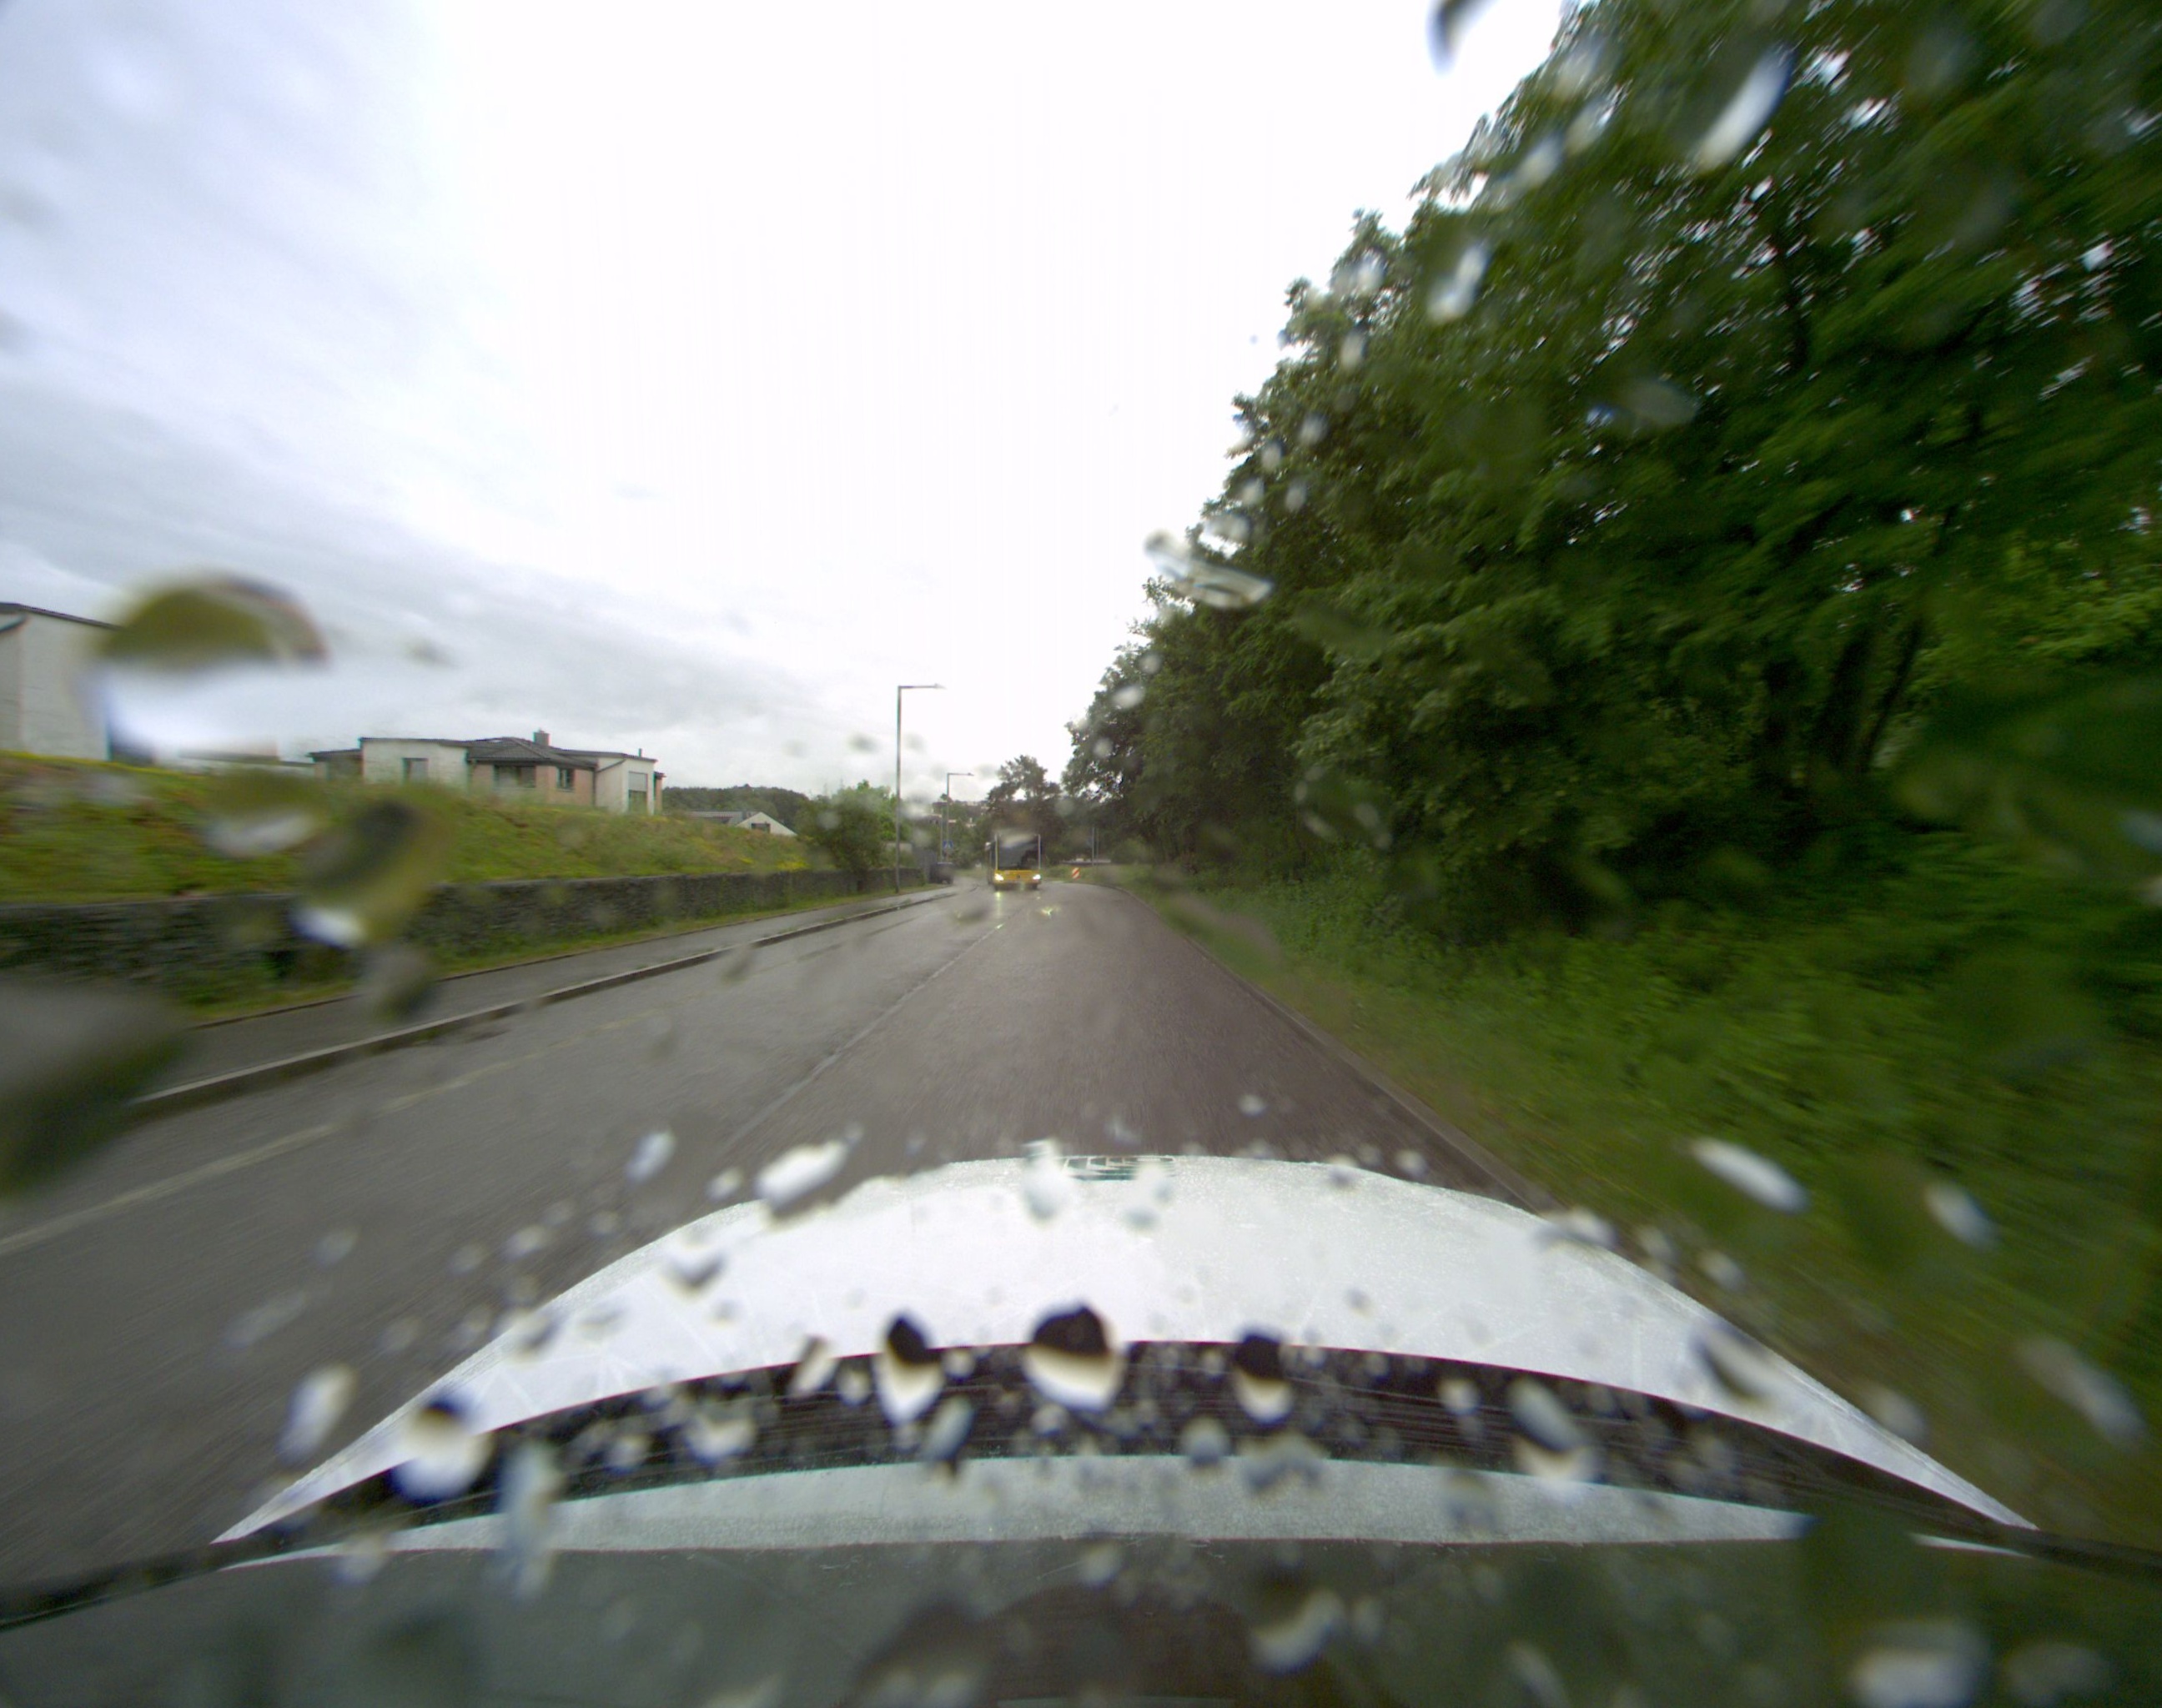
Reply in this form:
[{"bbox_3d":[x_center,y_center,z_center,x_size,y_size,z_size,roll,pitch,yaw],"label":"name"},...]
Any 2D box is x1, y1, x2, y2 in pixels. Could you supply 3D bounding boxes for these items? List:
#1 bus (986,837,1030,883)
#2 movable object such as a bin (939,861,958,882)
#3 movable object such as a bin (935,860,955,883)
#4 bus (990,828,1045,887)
[{"bbox_3d":[-5.234,0.433,57.483,2.639,3.032,7.642,0,-1,-9],"label":"bus"},{"bbox_3d":[-8.634,1.157,53.095,1.131,1.302,1.394,3,-1,-10],"label":"movable object such as a bin"},{"bbox_3d":[-8.532,1.094,51.138,1.131,1.339,1.394,3,-1,-10],"label":"movable object such as a bin"},{"bbox_3d":[-3.943,0.281,48.337,2.638,3.067,10.824,-1,-1,-8],"label":"bus"}]
